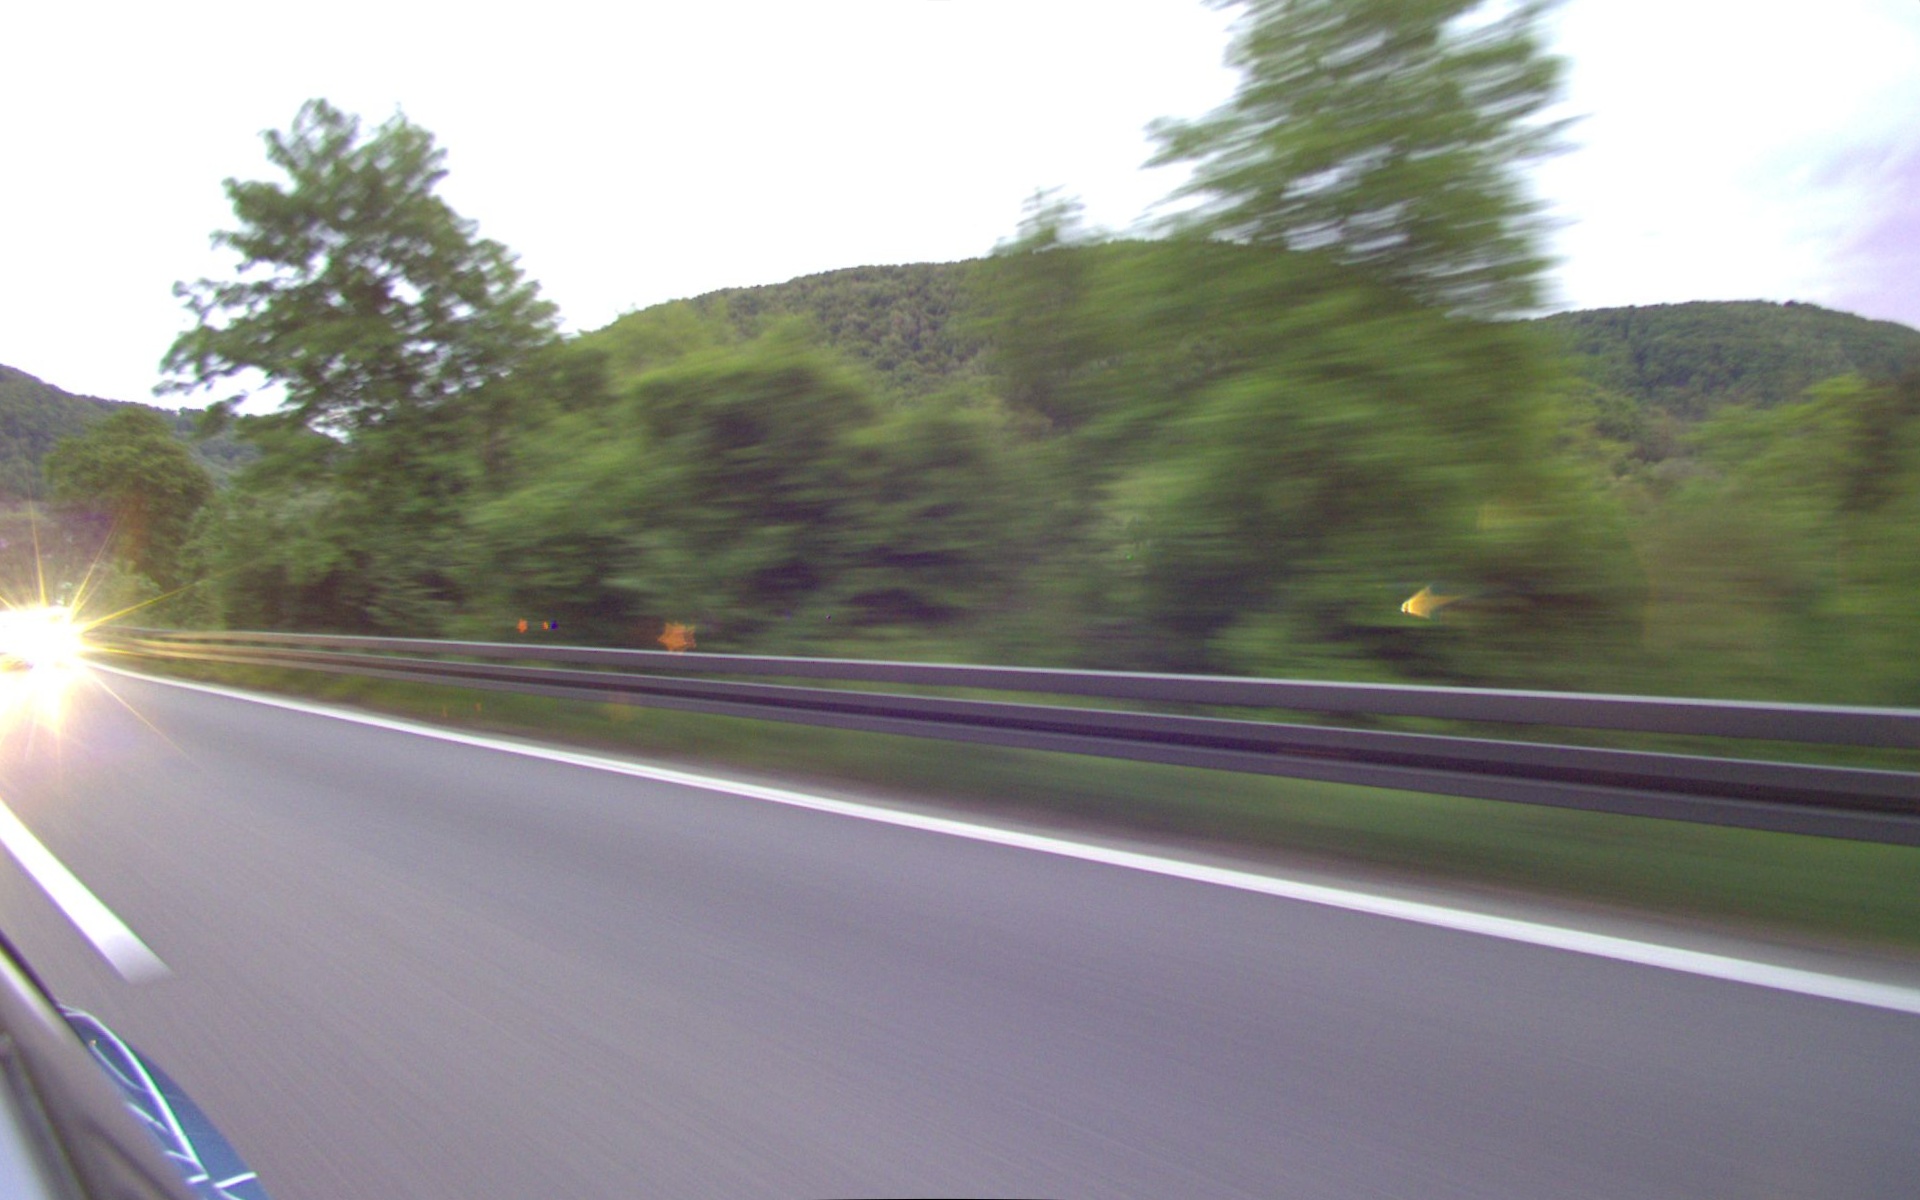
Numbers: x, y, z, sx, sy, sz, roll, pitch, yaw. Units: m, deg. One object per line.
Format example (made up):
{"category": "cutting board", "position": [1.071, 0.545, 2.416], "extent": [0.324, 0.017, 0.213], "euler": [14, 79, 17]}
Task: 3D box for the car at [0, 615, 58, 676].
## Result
{"category": "car", "position": [-24.911, 1.158, 26.400], "extent": [3.767, 1.479, 1.668], "euler": [-1, 0, 42]}
